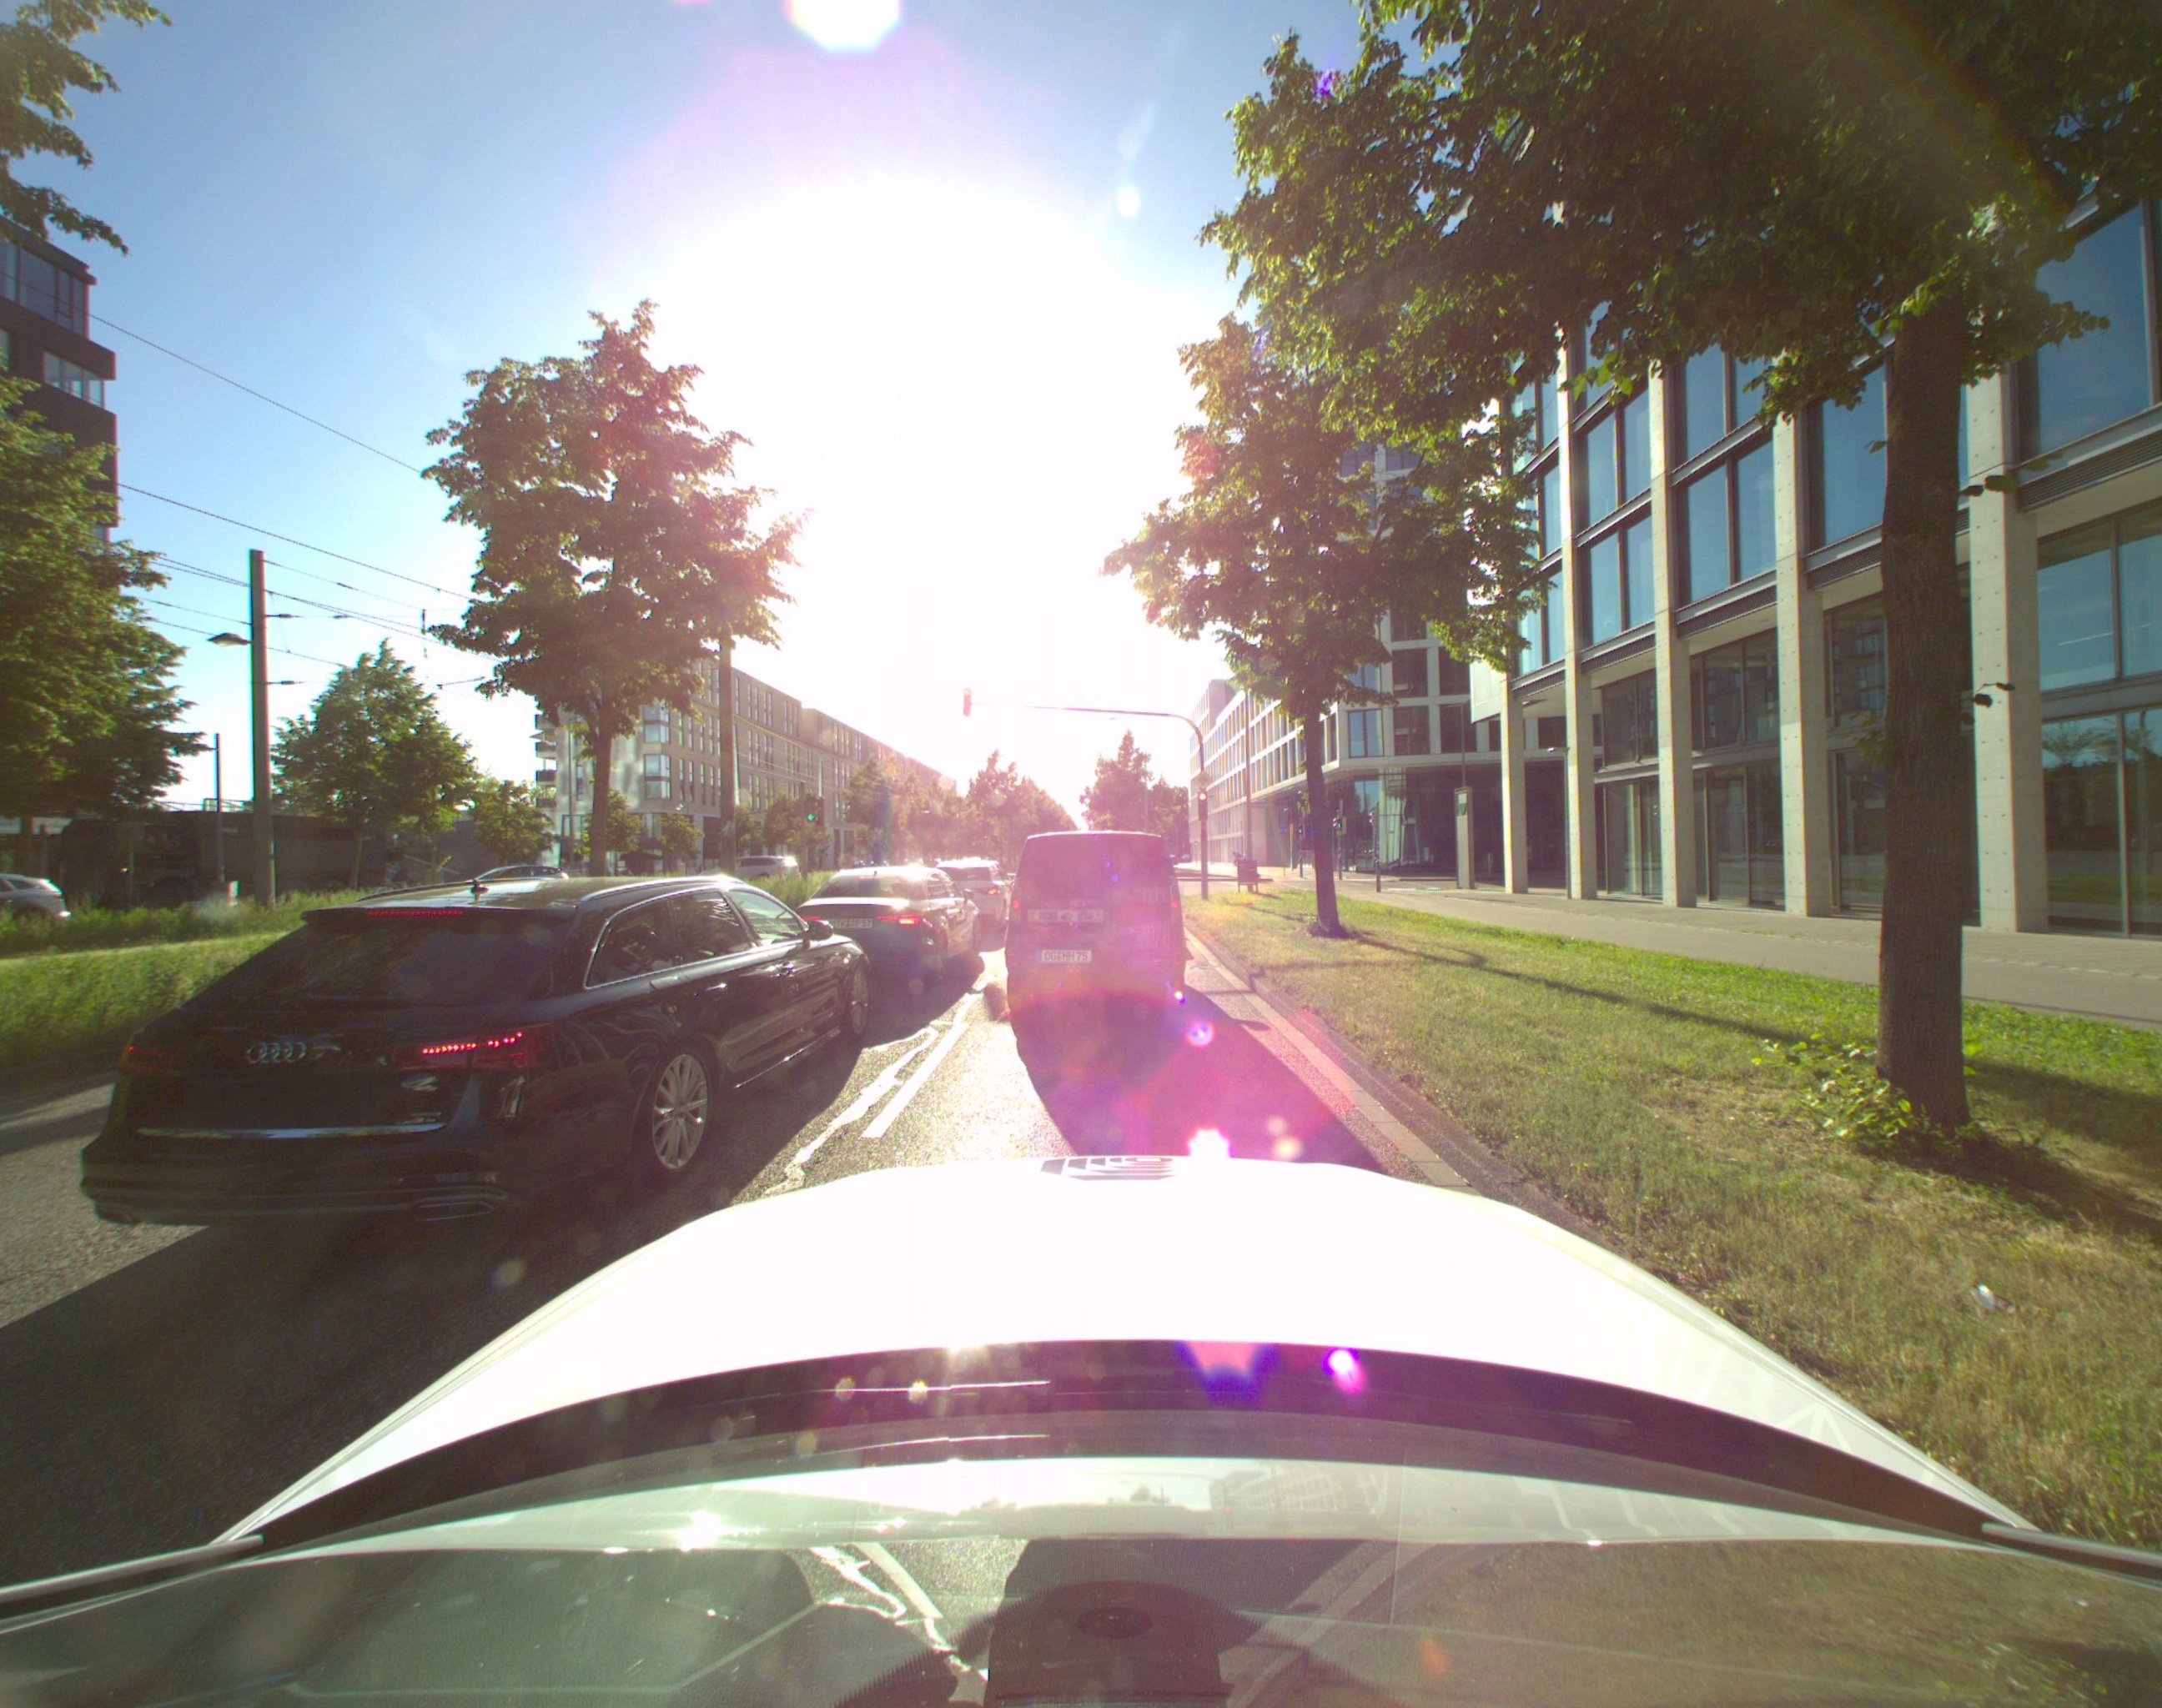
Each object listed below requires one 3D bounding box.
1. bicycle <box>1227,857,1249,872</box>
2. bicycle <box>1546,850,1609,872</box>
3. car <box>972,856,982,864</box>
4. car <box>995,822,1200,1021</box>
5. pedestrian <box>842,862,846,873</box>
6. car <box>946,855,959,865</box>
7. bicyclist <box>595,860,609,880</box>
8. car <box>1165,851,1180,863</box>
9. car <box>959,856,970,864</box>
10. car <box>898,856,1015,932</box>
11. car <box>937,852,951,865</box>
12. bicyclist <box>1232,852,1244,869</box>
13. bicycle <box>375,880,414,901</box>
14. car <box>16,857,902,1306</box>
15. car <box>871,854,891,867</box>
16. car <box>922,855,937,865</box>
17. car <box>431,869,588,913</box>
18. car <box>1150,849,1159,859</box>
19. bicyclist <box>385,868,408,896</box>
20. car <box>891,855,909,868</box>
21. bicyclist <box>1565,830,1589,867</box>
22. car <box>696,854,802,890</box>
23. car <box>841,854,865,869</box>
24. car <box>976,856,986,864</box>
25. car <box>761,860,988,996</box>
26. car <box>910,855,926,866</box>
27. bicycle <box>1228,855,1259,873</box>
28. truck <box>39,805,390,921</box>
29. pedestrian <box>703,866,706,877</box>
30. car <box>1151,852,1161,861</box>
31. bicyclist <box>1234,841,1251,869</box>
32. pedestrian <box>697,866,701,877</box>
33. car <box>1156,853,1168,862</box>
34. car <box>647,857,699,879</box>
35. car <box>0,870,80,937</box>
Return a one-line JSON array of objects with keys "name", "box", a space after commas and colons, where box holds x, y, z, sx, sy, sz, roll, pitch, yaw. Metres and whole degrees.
[{"name": "bicycle", "box": [11.906, 0.758, 61.661, 0.817, 1.114, 2.840, -1, 0, -6]}, {"name": "bicycle", "box": [28.284, 0.416, 46.437, 2.921, 1.190, 0.821, -1, 0, 13]}, {"name": "car", "box": [-27.891, 1.532, 218.189, 1.986, 2.013, 4.002, -1, 0, 2]}, {"name": "car", "box": [0.214, 0.613, 9.431, 1.835, 1.780, 4.002, -1, 0, 2]}, {"name": "pedestrian", "box": [-39.151, 2.237, 134.311, 0.466, 1.744, 0.480, -1, 0, 1]}, {"name": "car", "box": [-28.893, 1.329, 183.357, 1.986, 2.013, 4.002, -1, 0, 2]}, {"name": "bicyclist", "box": [-38.059, 1.270, 64.686, 0.674, 1.529, 0.714, -1, 0, 1]}, {"name": "car", "box": [14.331, 0.435, 127.889, 1.986, 1.782, 4.002, -1, 0, 2]}, {"name": "car", "box": [-28.603, 1.424, 200.176, 1.986, 2.013, 4.002, -1, 0, 2]}, {"name": "car", "box": [-2.574, 0.788, 17.739, 1.797, 1.426, 3.902, -1, 0, 2]}, {"name": "car", "box": [-28.428, 0.966, 169.283, 1.986, 2.607, 4.002, -1, 0, 2]}, {"name": "bicyclist", "box": [11.869, 0.486, 61.633, 0.814, 1.275, 0.683, -1, 0, 4]}, {"name": "bicycle", "box": [-36.115, 1.924, 42.868, 0.475, 1.035, 1.757, -1, 0, 2]}, {"name": "car", "box": [-2.689, 0.788, 5.291, 1.868, 1.484, 4.967, -1, 0, 1]}, {"name": "car", "box": [-30.751, 0.988, 125.133, 1.986, 2.013, 4.002, -1, 0, 2]}, {"name": "car", "box": [-29.688, 1.188, 159.374, 1.986, 2.013, 4.002, -1, 0, 2]}, {"name": "car", "box": [-21.846, 1.356, 31.354, 1.782, 1.447, 4.596, -1, 0, 27]}, {"name": "car", "box": [17.899, 0.032, 198.171, 1.986, 2.497, 4.988, -1, 0, 2]}, {"name": "bicyclist", "box": [-36.120, 1.469, 42.980, 0.475, 1.424, 0.821, -1, 0, 2]}, {"name": "car", "box": [-30.580, 1.276, 137.449, 1.986, 2.013, 4.002, -1, 0, 2]}, {"name": "bicyclist", "box": [28.262, -0.327, 46.452, 0.933, 2.092, 0.821, -1, 0, 14]}, {"name": "car", "box": [-15.086, 0.806, 37.081, 4.180, 1.492, 1.522, -1, 0, 6]}, {"name": "car", "box": [-30.877, 0.990, 110.587, 1.986, 2.013, 4.002, -1, 0, 2]}, {"name": "car", "box": [-27.433, 1.570, 223.806, 1.986, 2.013, 4.002, -1, 0, 2]}, {"name": "car", "box": [-2.518, 0.826, 11.098, 1.835, 1.426, 4.340, -1, 0, 2]}, {"name": "car", "box": [-30.101, 1.133, 150.277, 1.986, 2.013, 4.002, -1, 0, 2]}, {"name": "bicycle", "box": [11.543, 0.715, 58.088, 0.817, 1.190, 2.934, -1, 0, -18]}, {"name": "truck", "box": [-33.629, 0.292, 32.639, 2.880, 3.853, 10.218, -1, 0, 2]}, {"name": "pedestrian", "box": [-39.718, 1.863, 85.905, 0.253, 1.085, 0.289, -1, 0, 1]}, {"name": "car", "box": [16.514, 0.550, 179.670, 1.986, 1.782, 4.002, -1, 0, 2]}, {"name": "bicyclist", "box": [11.515, 0.089, 58.107, 0.817, 1.947, 0.996, -1, 0, -18]}, {"name": "pedestrian", "box": [-40.160, 1.847, 85.655, 0.253, 1.085, 0.260, -1, 0, 1]}, {"name": "car", "box": [15.971, 0.637, 160.468, 1.986, 1.782, 4.002, -1, 0, 2]}, {"name": "car", "box": [-31.043, 1.040, 62.066, 1.758, 1.520, 4.002, -1, 0, 2]}, {"name": "car", "box": [-24.915, 1.134, 17.275, 1.794, 1.447, 4.565, -1, 0, -2]}]
